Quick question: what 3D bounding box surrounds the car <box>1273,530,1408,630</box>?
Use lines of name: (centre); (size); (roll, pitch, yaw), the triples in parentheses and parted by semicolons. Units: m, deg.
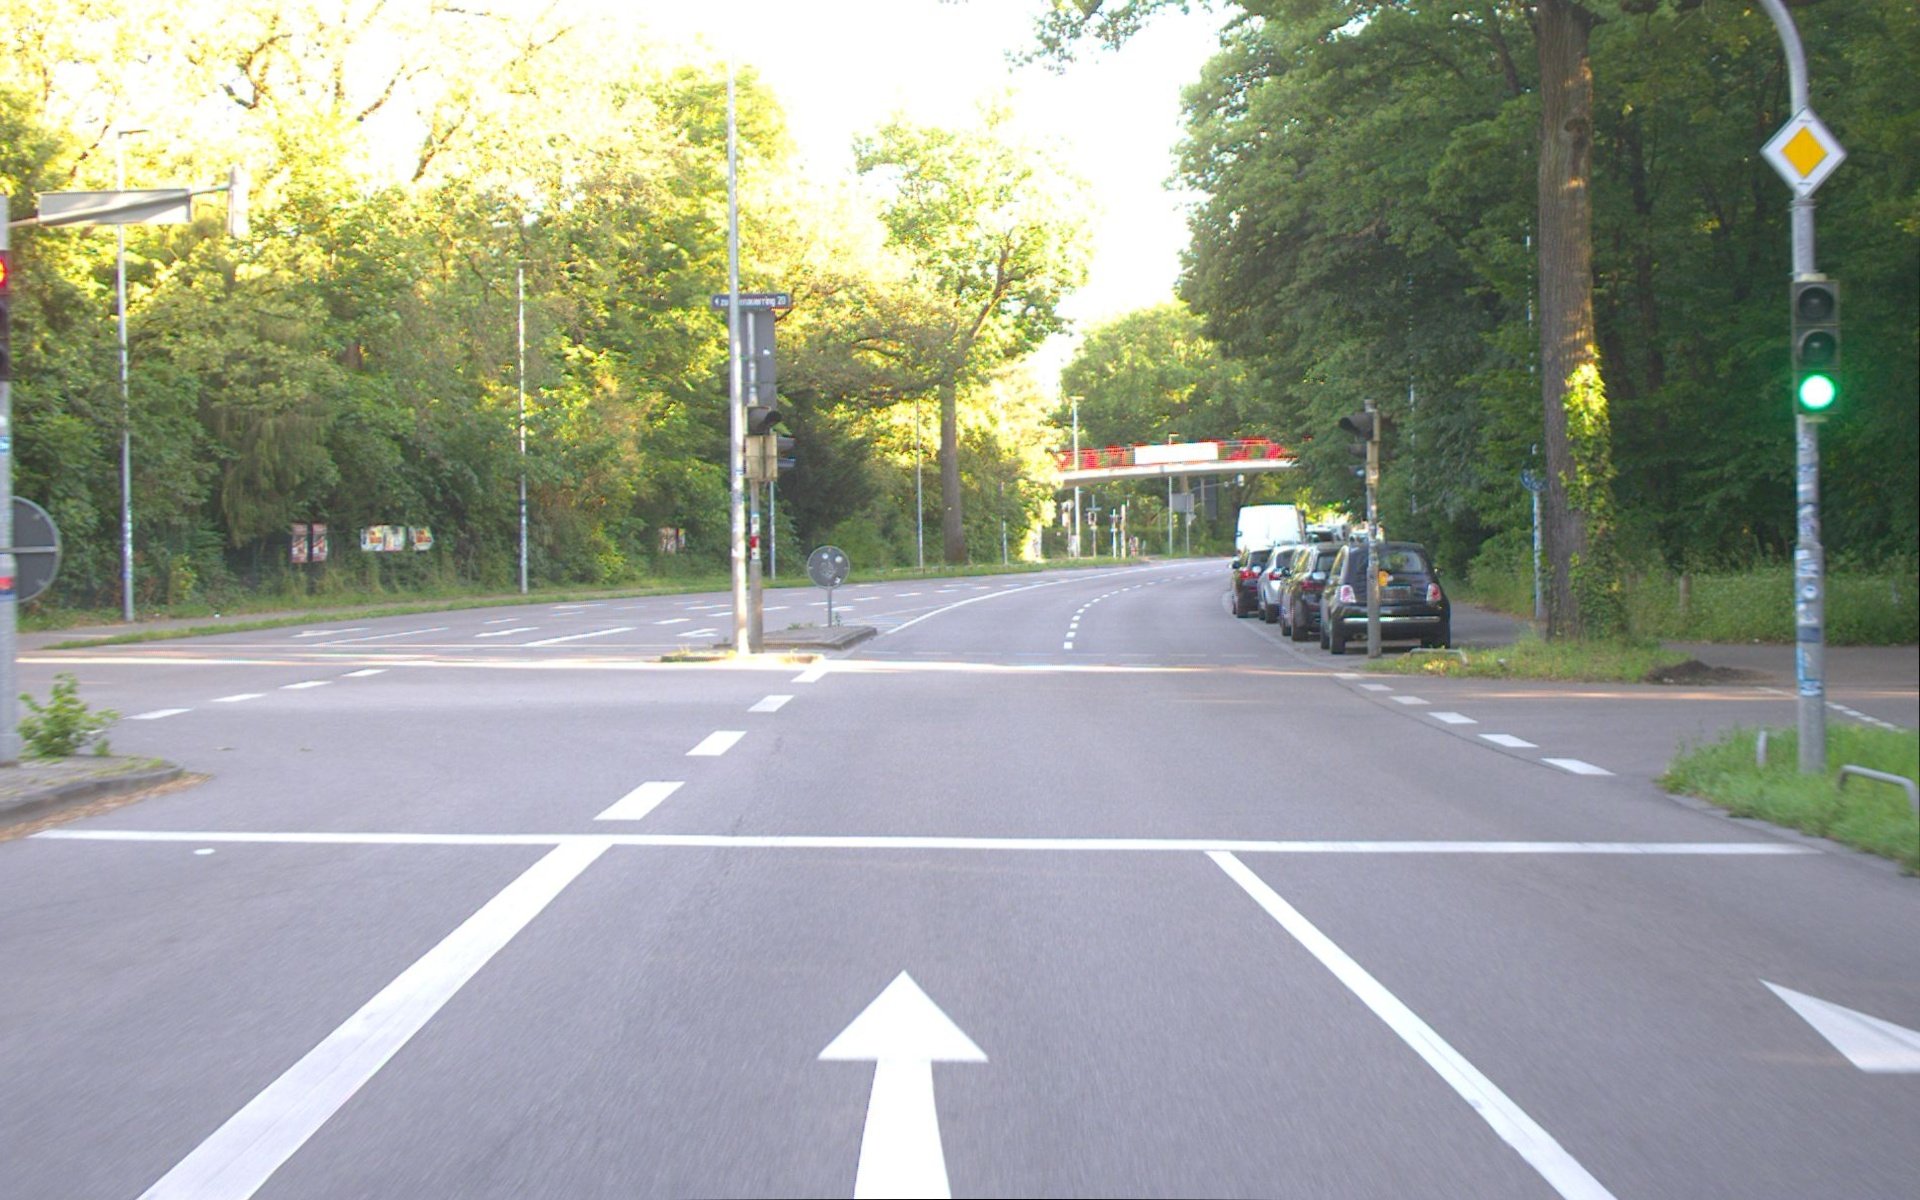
car: (5.943, -0.330, 54.101); (1.718, 1.464, 4.987); (-1, 1, 2)

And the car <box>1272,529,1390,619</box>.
car: (6.394, -0.464, 59.658); (1.718, 1.464, 4.202); (-1, 1, 2)

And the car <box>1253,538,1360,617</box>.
car: (6.506, -0.434, 64.861); (1.718, 1.407, 4.124); (-1, 1, 2)

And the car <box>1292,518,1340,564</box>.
car: (14.337, -2.367, 138.427); (1.759, 1.798, 4.736); (-1, 1, 8)

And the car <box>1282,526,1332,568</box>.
car: (13.001, -1.988, 128.677); (1.586, 1.490, 3.179); (-1, 1, 10)

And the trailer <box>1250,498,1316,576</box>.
trailer: (10.380, -2.004, 110.166); (1.904, 2.415, 5.125); (-1, 1, 7)

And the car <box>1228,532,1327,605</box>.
car: (6.419, -0.646, 69.814); (1.718, 1.407, 4.487); (-1, 1, 2)

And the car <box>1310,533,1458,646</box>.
car: (5.838, -0.158, 47.673); (1.718, 1.464, 3.756); (-1, 1, 2)

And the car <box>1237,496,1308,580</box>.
car: (9.442, -1.859, 103.518); (1.904, 2.415, 5.574); (-1, 1, 7)

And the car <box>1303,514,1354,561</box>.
car: (16.194, -2.722, 150.935); (1.869, 1.974, 5.473); (-1, 1, 9)
